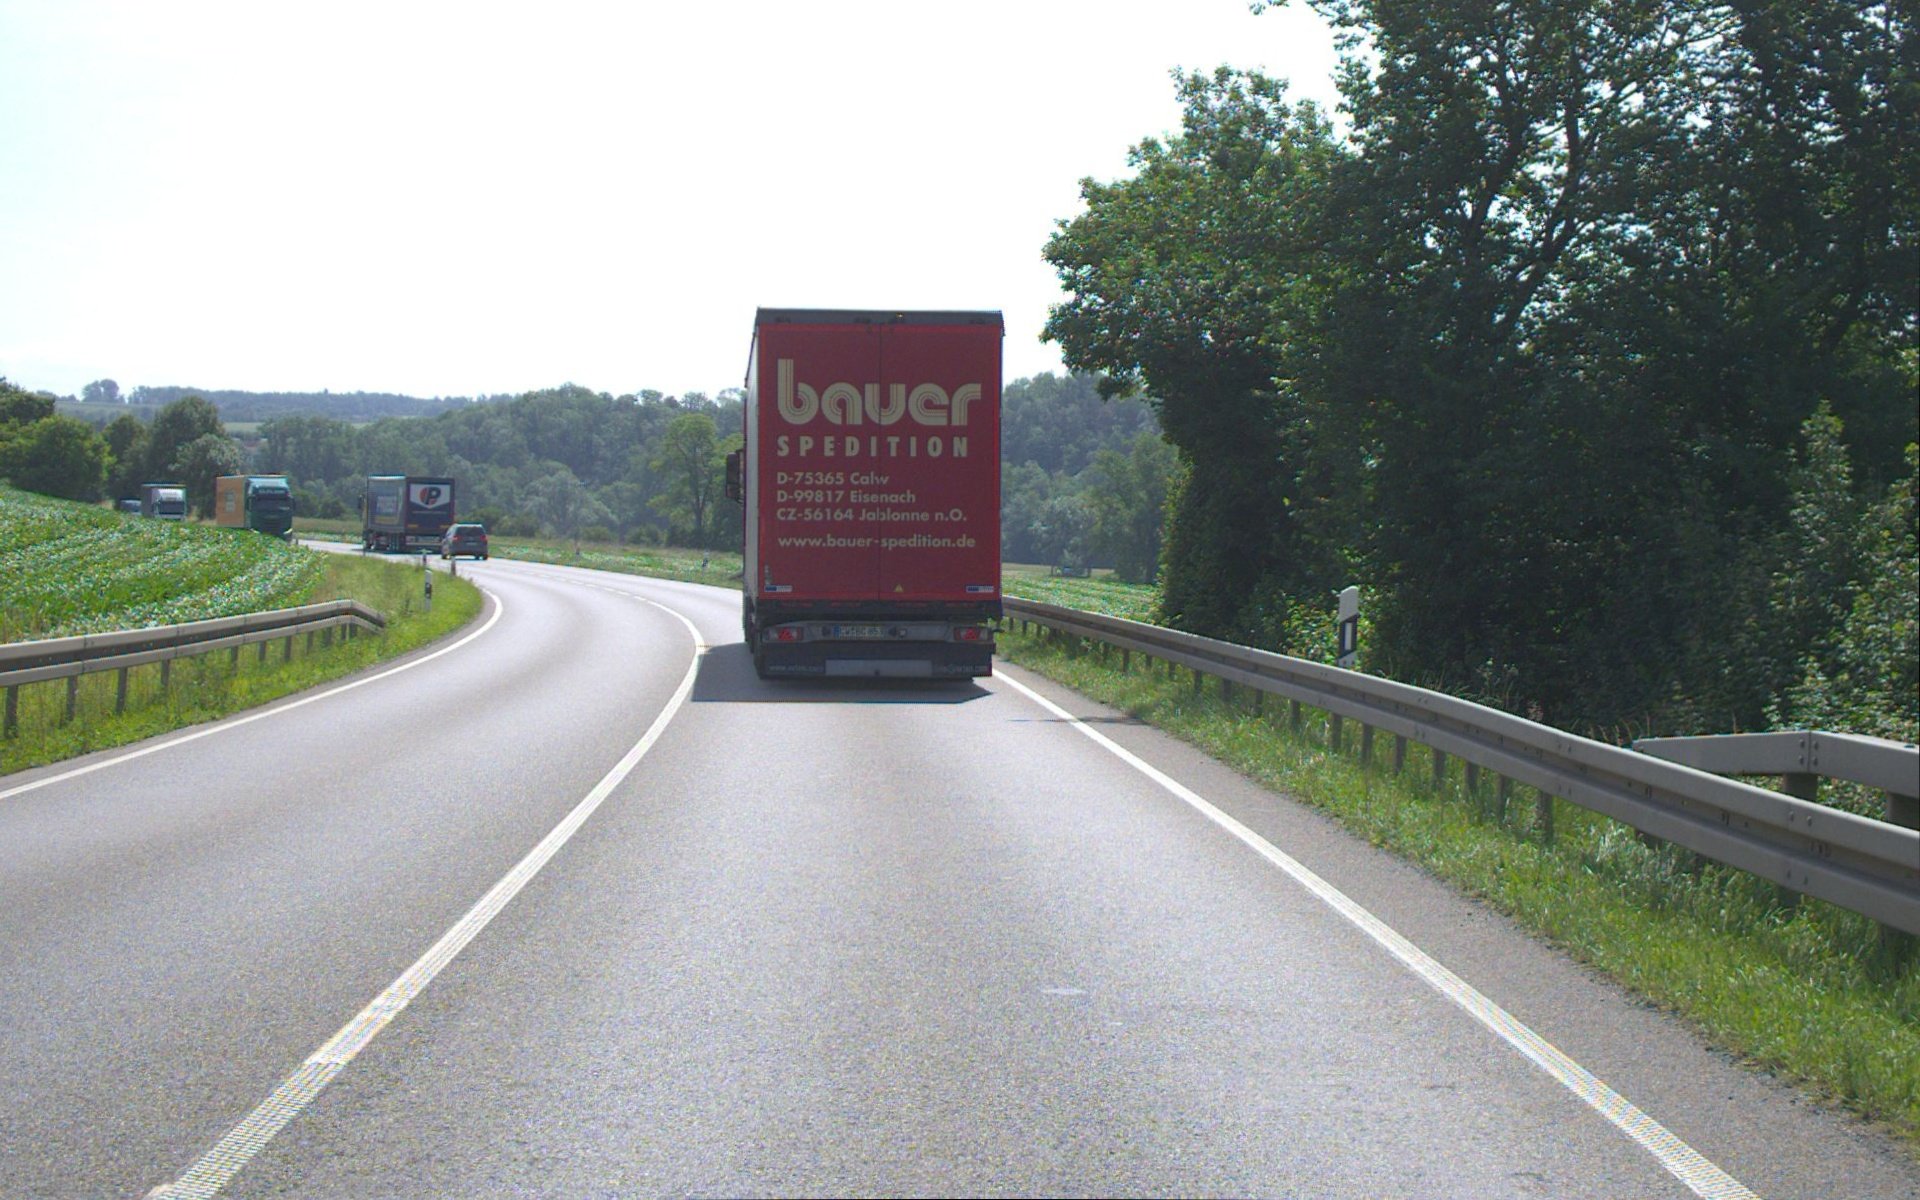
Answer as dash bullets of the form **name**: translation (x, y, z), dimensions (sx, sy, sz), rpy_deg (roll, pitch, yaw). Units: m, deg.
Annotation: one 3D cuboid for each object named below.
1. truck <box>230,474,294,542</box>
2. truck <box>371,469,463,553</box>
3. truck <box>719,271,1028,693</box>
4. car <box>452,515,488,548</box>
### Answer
- **truck**: translation (-43.252, -5.689, 212.630), dimensions (2.770, 3.985, 17.033), rpy_deg (1, 1, -15)
- **truck**: translation (-29.068, -4.680, 183.584), dimensions (3.639, 4.277, 11.989), rpy_deg (0, 1, -15)
- **truck**: translation (-0.797, -1.261, 39.026), dimensions (3.094, 4.248, 8.314), rpy_deg (1, 1, 1)
- **car**: translation (-23.138, -3.244, 162.337), dimensions (1.581, 1.496, 3.877), rpy_deg (1, 1, -7)
